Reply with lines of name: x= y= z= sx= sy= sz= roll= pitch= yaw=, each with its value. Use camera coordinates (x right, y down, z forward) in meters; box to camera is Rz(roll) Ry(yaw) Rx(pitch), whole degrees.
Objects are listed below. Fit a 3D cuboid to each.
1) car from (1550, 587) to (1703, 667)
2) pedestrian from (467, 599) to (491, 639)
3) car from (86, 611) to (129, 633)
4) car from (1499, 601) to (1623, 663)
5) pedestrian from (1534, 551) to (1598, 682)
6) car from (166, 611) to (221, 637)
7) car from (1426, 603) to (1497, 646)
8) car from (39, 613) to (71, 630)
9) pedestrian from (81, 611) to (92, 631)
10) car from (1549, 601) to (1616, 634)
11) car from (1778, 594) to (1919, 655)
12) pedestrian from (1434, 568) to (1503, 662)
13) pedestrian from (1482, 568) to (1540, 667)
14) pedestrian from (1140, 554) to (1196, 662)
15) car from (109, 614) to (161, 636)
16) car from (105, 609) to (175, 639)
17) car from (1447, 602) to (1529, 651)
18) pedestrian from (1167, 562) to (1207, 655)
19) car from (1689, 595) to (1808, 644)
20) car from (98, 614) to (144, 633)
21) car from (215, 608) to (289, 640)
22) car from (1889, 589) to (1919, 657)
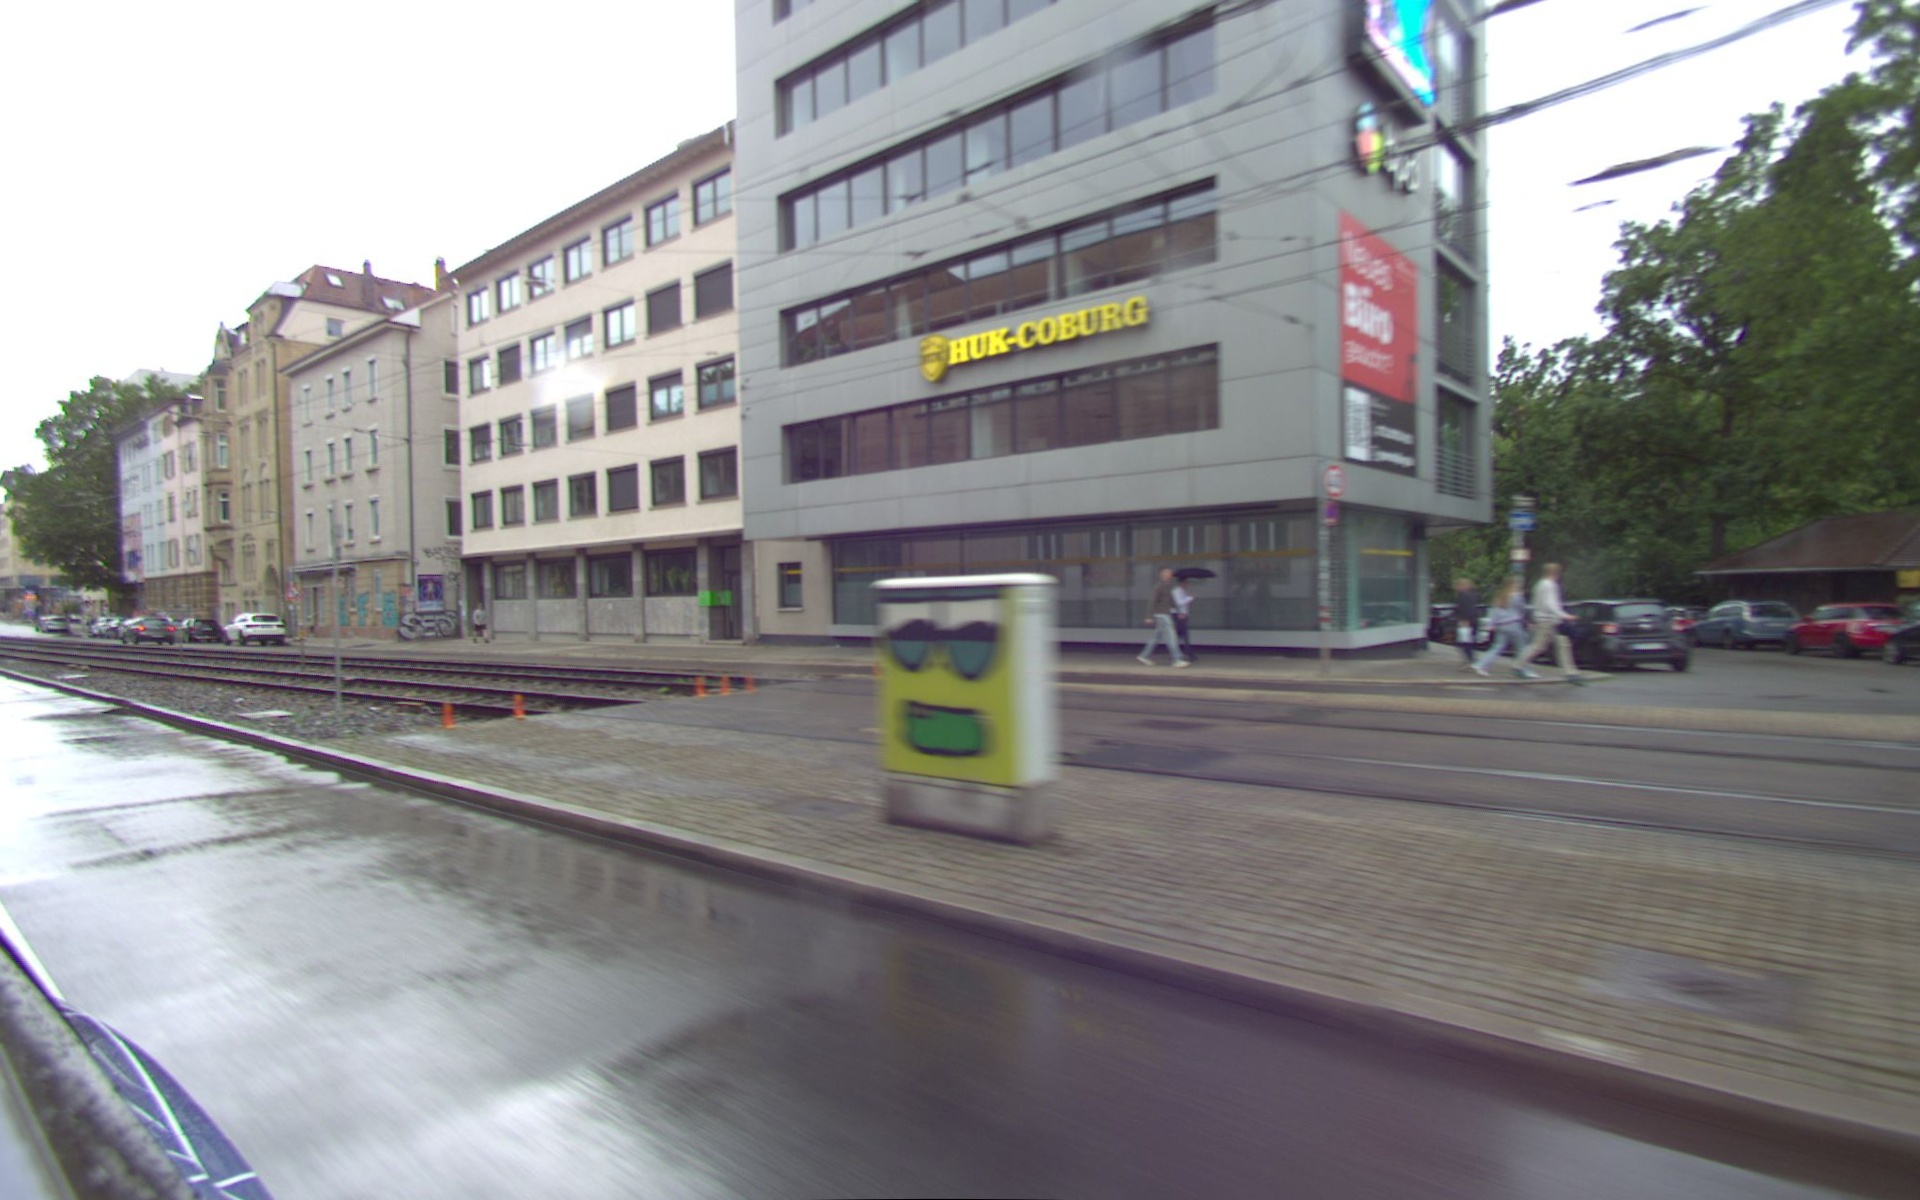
car: x=14.134 y=0.555 z=21.705 sx=1.688 sy=1.562 sz=3.721 roll=0 pitch=-1 yaw=16
pedestrian: x=-20.129 y=0.783 z=42.344 sx=0.799 sy=1.624 sz=0.541 roll=-1 pitch=3 yaw=43
car: x=-65.199 y=1.657 z=77.372 sx=4.224 sy=1.617 sz=1.819 roll=-1 pitch=-2 yaw=40
car: x=15.257 y=0.772 z=25.908 sx=1.686 sy=1.465 sz=3.725 roll=0 pitch=-1 yaw=14
pedestrian: x=9.664 y=0.245 z=16.151 sx=0.609 sy=2.028 sz=0.662 roll=-2 pitch=2 yaw=3
car: x=-45.118 y=1.410 z=59.525 sx=4.168 sy=1.467 sz=1.718 roll=-1 pitch=-3 yaw=41
car: x=19.174 y=0.912 z=38.843 sx=1.686 sy=1.567 sz=3.524 roll=0 pitch=-1 yaw=14
car: x=-86.493 y=2.027 z=96.697 sx=4.227 sy=1.553 sz=1.818 roll=-1 pitch=-2 yaw=42
pedestrian: x=-82.687 y=1.962 z=95.809 sx=0.536 sy=1.883 sz=0.798 roll=-2 pitch=-1 yaw=45
car: x=29.166 y=0.817 z=47.512 sx=1.687 sy=1.459 sz=3.523 roll=0 pitch=-1 yaw=15
car: x=23.195 y=0.612 z=26.298 sx=1.687 sy=1.459 sz=3.523 roll=0 pitch=-1 yaw=15
pedestrian: x=8.928 y=0.265 z=17.801 sx=0.958 sy=1.606 sz=0.586 roll=-1 pitch=2 yaw=16
pedestrian: x=9.213 y=0.282 z=16.926 sx=0.579 sy=1.606 sz=0.638 roll=-3 pitch=2 yaw=-32
pedestrian: x=4.057 y=0.144 z=19.730 sx=0.809 sy=2.028 sz=0.655 roll=-1 pitch=2 yaw=38
car: x=-57.137 y=1.718 z=70.079 sx=5.020 sy=1.408 sz=1.972 roll=-1 pitch=-3 yaw=42
car: x=-43.702 y=1.274 z=53.929 sx=4.343 sy=1.548 sz=1.921 roll=-1 pitch=-3 yaw=38
car: x=17.998 y=0.881 z=34.659 sx=1.686 sy=1.567 sz=3.524 roll=0 pitch=-1 yaw=14
pedestrian: x=4.599 y=0.159 z=20.520 sx=0.655 sy=1.829 sz=0.971 roll=-2 pitch=2 yaw=8
car: x=24.803 y=0.600 z=31.975 sx=1.687 sy=1.459 sz=3.523 roll=0 pitch=-1 yaw=15
car: x=-61.020 y=1.695 z=73.555 sx=4.262 sy=1.408 sz=1.819 roll=-1 pitch=-2 yaw=40
car: x=-36.217 y=1.242 z=51.710 sx=4.746 sy=1.548 sz=1.973 roll=-1 pitch=-3 yaw=41
car: x=21.385 y=0.483 z=21.070 sx=1.689 sy=1.459 sz=3.518 roll=0 pitch=-1 yaw=19
